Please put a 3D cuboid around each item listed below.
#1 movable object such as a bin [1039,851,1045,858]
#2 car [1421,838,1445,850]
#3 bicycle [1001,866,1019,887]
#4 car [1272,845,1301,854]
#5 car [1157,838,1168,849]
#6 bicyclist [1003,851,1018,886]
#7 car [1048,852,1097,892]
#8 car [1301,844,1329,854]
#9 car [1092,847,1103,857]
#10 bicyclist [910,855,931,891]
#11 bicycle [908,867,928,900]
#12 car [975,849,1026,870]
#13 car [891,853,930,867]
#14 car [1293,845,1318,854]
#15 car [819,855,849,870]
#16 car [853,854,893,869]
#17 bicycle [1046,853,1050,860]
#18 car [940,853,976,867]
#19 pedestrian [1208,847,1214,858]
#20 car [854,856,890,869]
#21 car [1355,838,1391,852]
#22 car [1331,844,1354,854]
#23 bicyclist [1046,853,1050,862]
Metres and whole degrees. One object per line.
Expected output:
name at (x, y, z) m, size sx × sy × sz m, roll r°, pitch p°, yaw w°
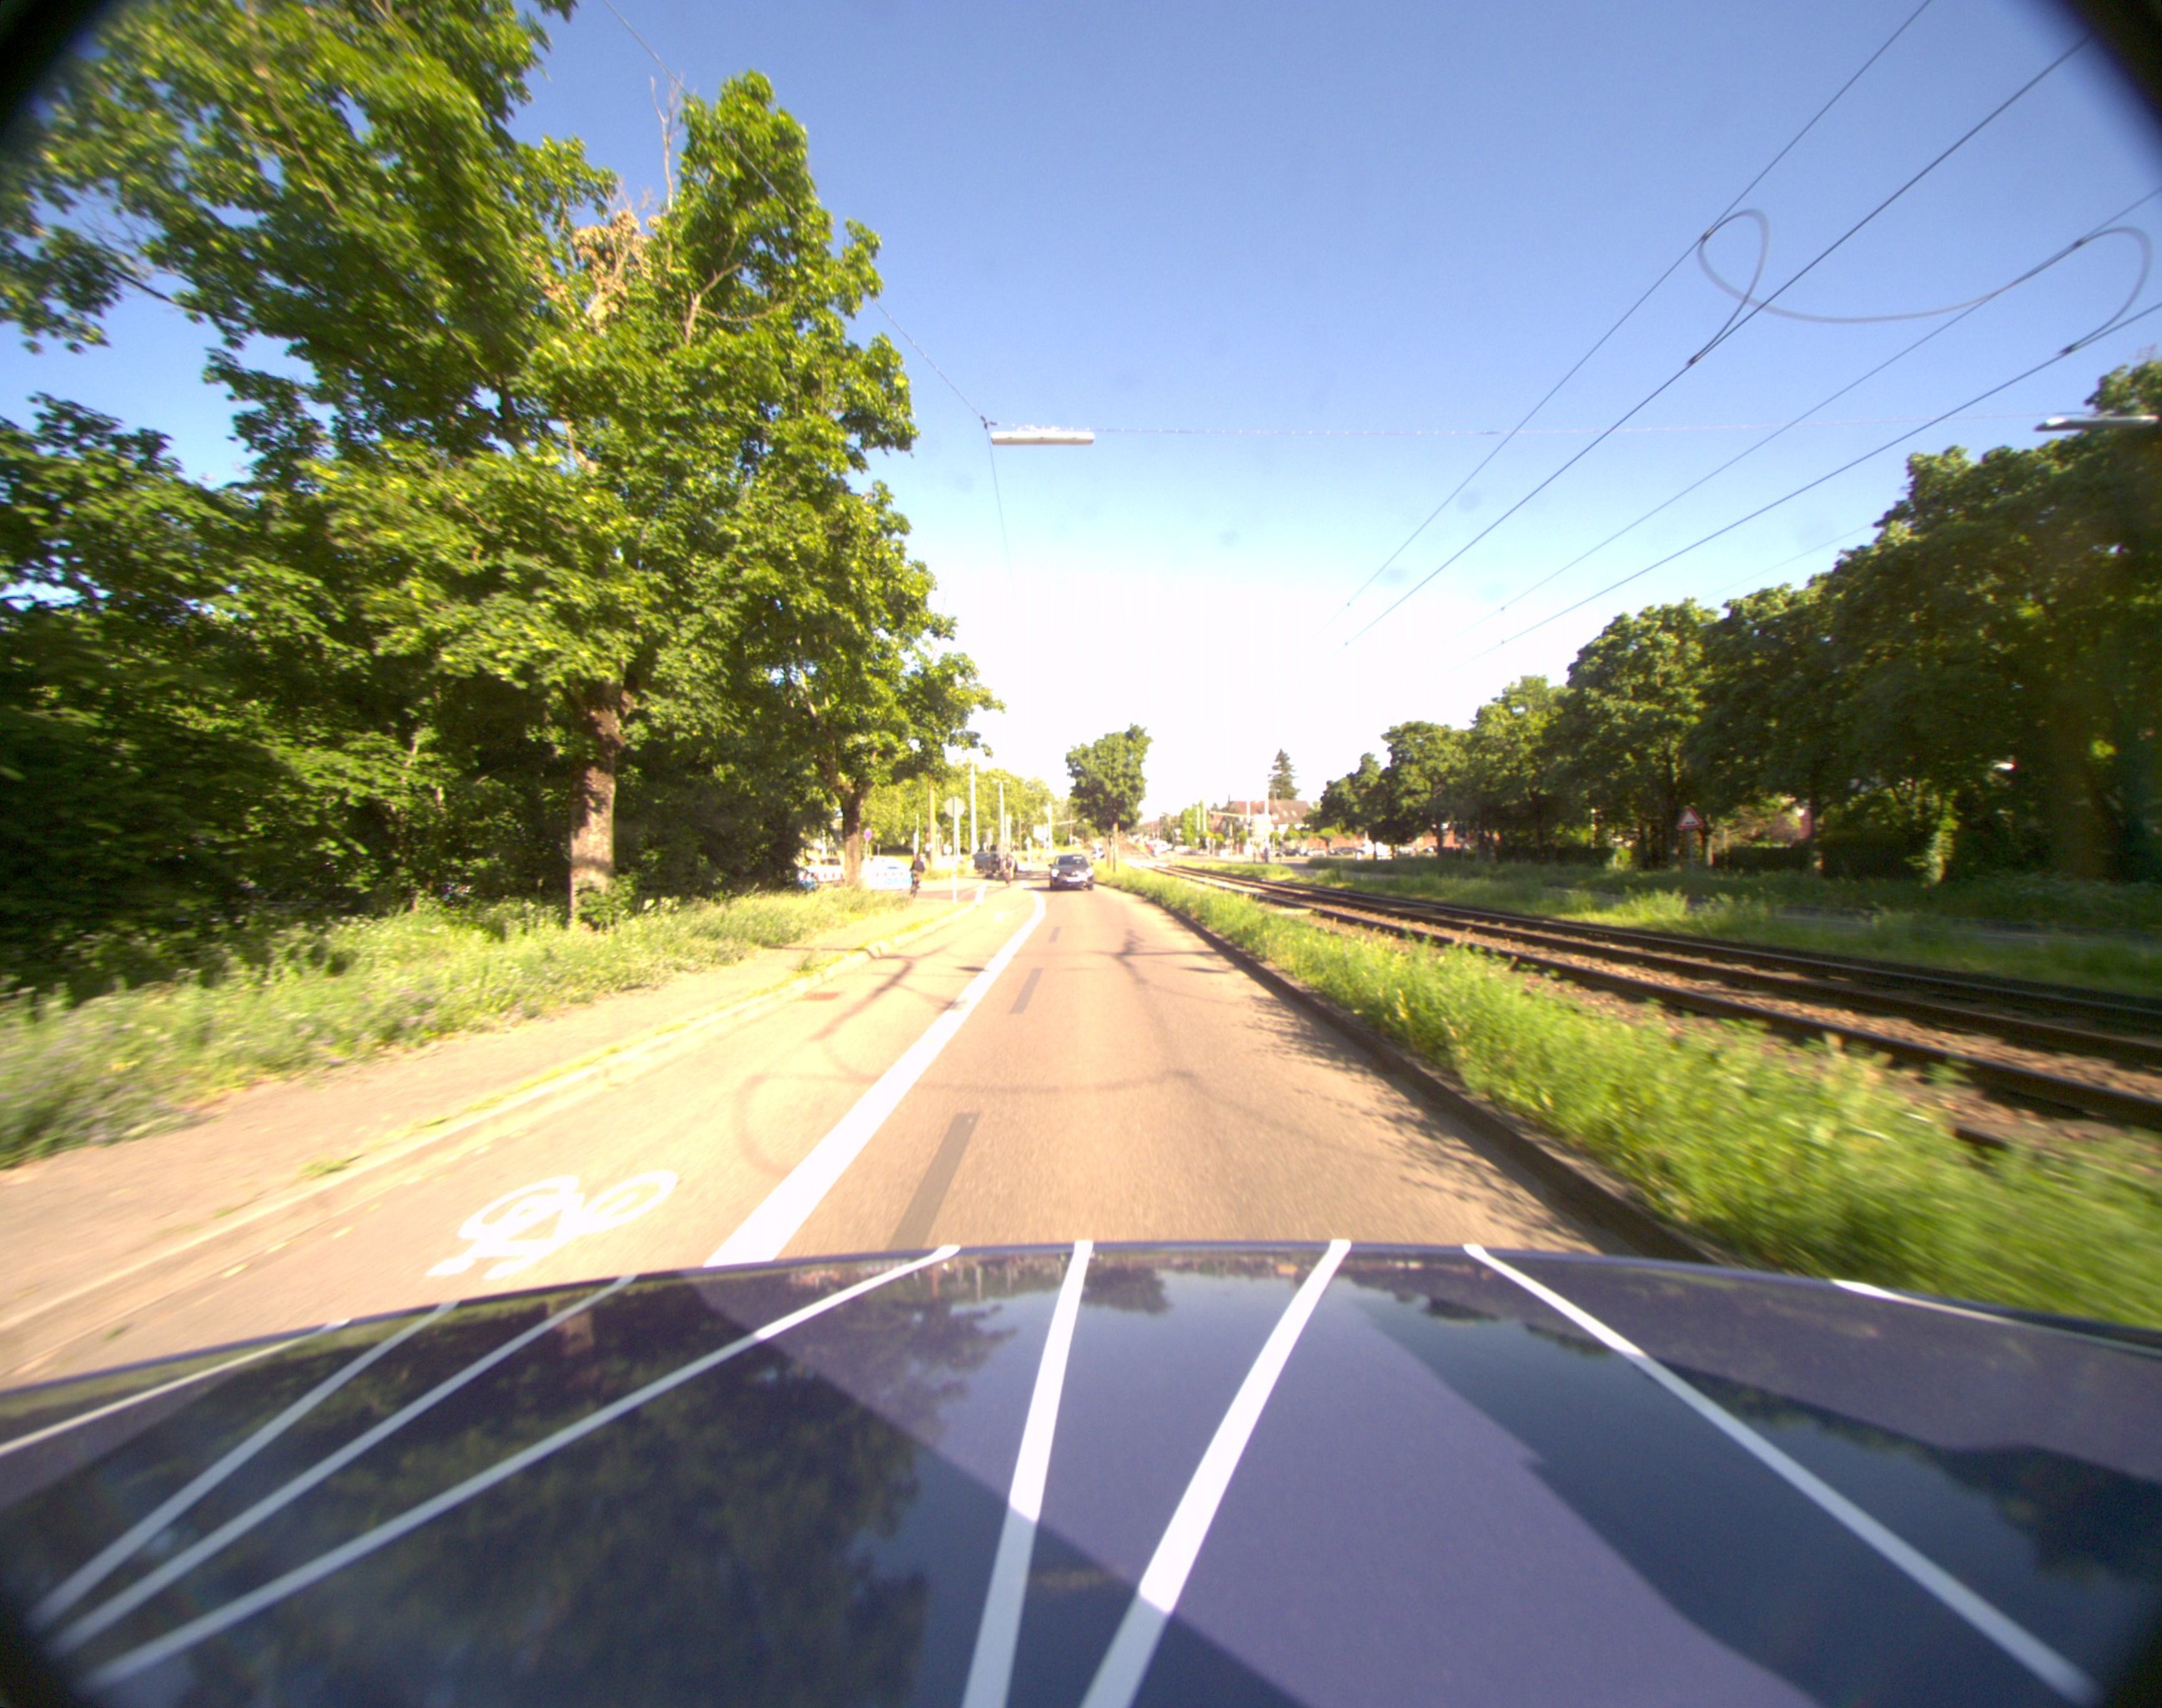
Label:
movable object such as a bin at (-6.117, 0.138, 118.913) m, size 0.911 × 1.062 × 1.316 m, roll -1°, pitch 2°, yaw -4°
car at (63.543, -1.848, 137.321) m, size 4.005 × 2.002 × 1.804 m, roll -1°, pitch 2°, yaw -26°
bicycle at (-3.468, 1.099, 37.278) m, size 0.525 × 0.918 × 2.089 m, roll -1°, pitch 2°, yaw 3°
car at (33.759, -0.747, 124.887) m, size 4.254 × 1.458 × 1.934 m, roll -2°, pitch 2°, yaw -25°
car at (18.688, -2.402, 174.944) m, size 2.346 × 2.444 × 6.872 m, roll -1°, pitch 1°, yaw 6°
bicyclist at (-3.489, 0.706, 37.600) m, size 0.616 × 1.670 × 0.933 m, roll -1°, pitch 1°, yaw 2°
car at (-0.316, 0.743, 33.322) m, size 1.838 × 1.542 × 3.816 m, roll -1°, pitch 2°, yaw 3°
car at (39.000, -0.828, 126.820) m, size 4.264 × 1.458 × 1.934 m, roll -2°, pitch 1°, yaw -25°
car at (2.907, -0.355, 135.652) m, size 1.881 × 1.519 × 4.420 m, roll -1°, pitch 2°, yaw 2°
bicyclist at (-6.287, 0.737, 29.748) m, size 0.758 × 1.360 × 0.806 m, roll 0°, pitch 0°, yaw -9°
bicycle at (-6.380, 1.149, 29.806) m, size 0.621 × 1.183 × 2.503 m, roll -1°, pitch 0°, yaw -10°
car at (-8.331, 0.528, 78.497) m, size 5.105 × 2.059 × 2.135 m, roll 0°, pitch 2°, yaw 36°
car at (-21.569, 0.759, 96.259) m, size 4.500 × 1.702 × 1.916 m, roll -1°, pitch 2°, yaw -25°
car at (38.581, -0.827, 130.635) m, size 4.005 × 1.469 × 1.669 m, roll -1°, pitch 2°, yaw -25°
car at (-29.073, 1.007, 89.510) m, size 3.213 × 1.608 × 1.369 m, roll -1°, pitch 5°, yaw -26°
car at (-24.114, 0.809, 87.904) m, size 4.180 × 1.668 × 1.930 m, roll -1°, pitch 0°, yaw -25°
bicycle at (-5.267, 0.413, 120.308) m, size 0.468 × 1.112 × 1.819 m, roll -1°, pitch 1°, yaw -5°
car at (-15.466, 0.727, 95.583) m, size 4.094 × 1.591 × 1.813 m, roll -1°, pitch 1°, yaw -21°
pedestrian at (22.386, -0.267, 130.533) m, size 0.612 × 1.937 × 0.774 m, roll -2°, pitch 2°, yaw -41°
car at (-25.849, 1.021, 94.079) m, size 4.005 × 1.608 × 1.996 m, roll -1°, pitch 0°, yaw -24°
car at (50.468, -1.562, 131.373) m, size 5.928 × 2.397 × 2.176 m, roll -1°, pitch 2°, yaw -23°
car at (44.249, -0.865, 128.692) m, size 3.531 × 1.559 × 1.494 m, roll -1°, pitch 1°, yaw -22°
bicyclist at (-5.202, 0.539, 119.729) m, size 0.511 × 1.333 × 0.565 m, roll -1°, pitch 2°, yaw -5°
